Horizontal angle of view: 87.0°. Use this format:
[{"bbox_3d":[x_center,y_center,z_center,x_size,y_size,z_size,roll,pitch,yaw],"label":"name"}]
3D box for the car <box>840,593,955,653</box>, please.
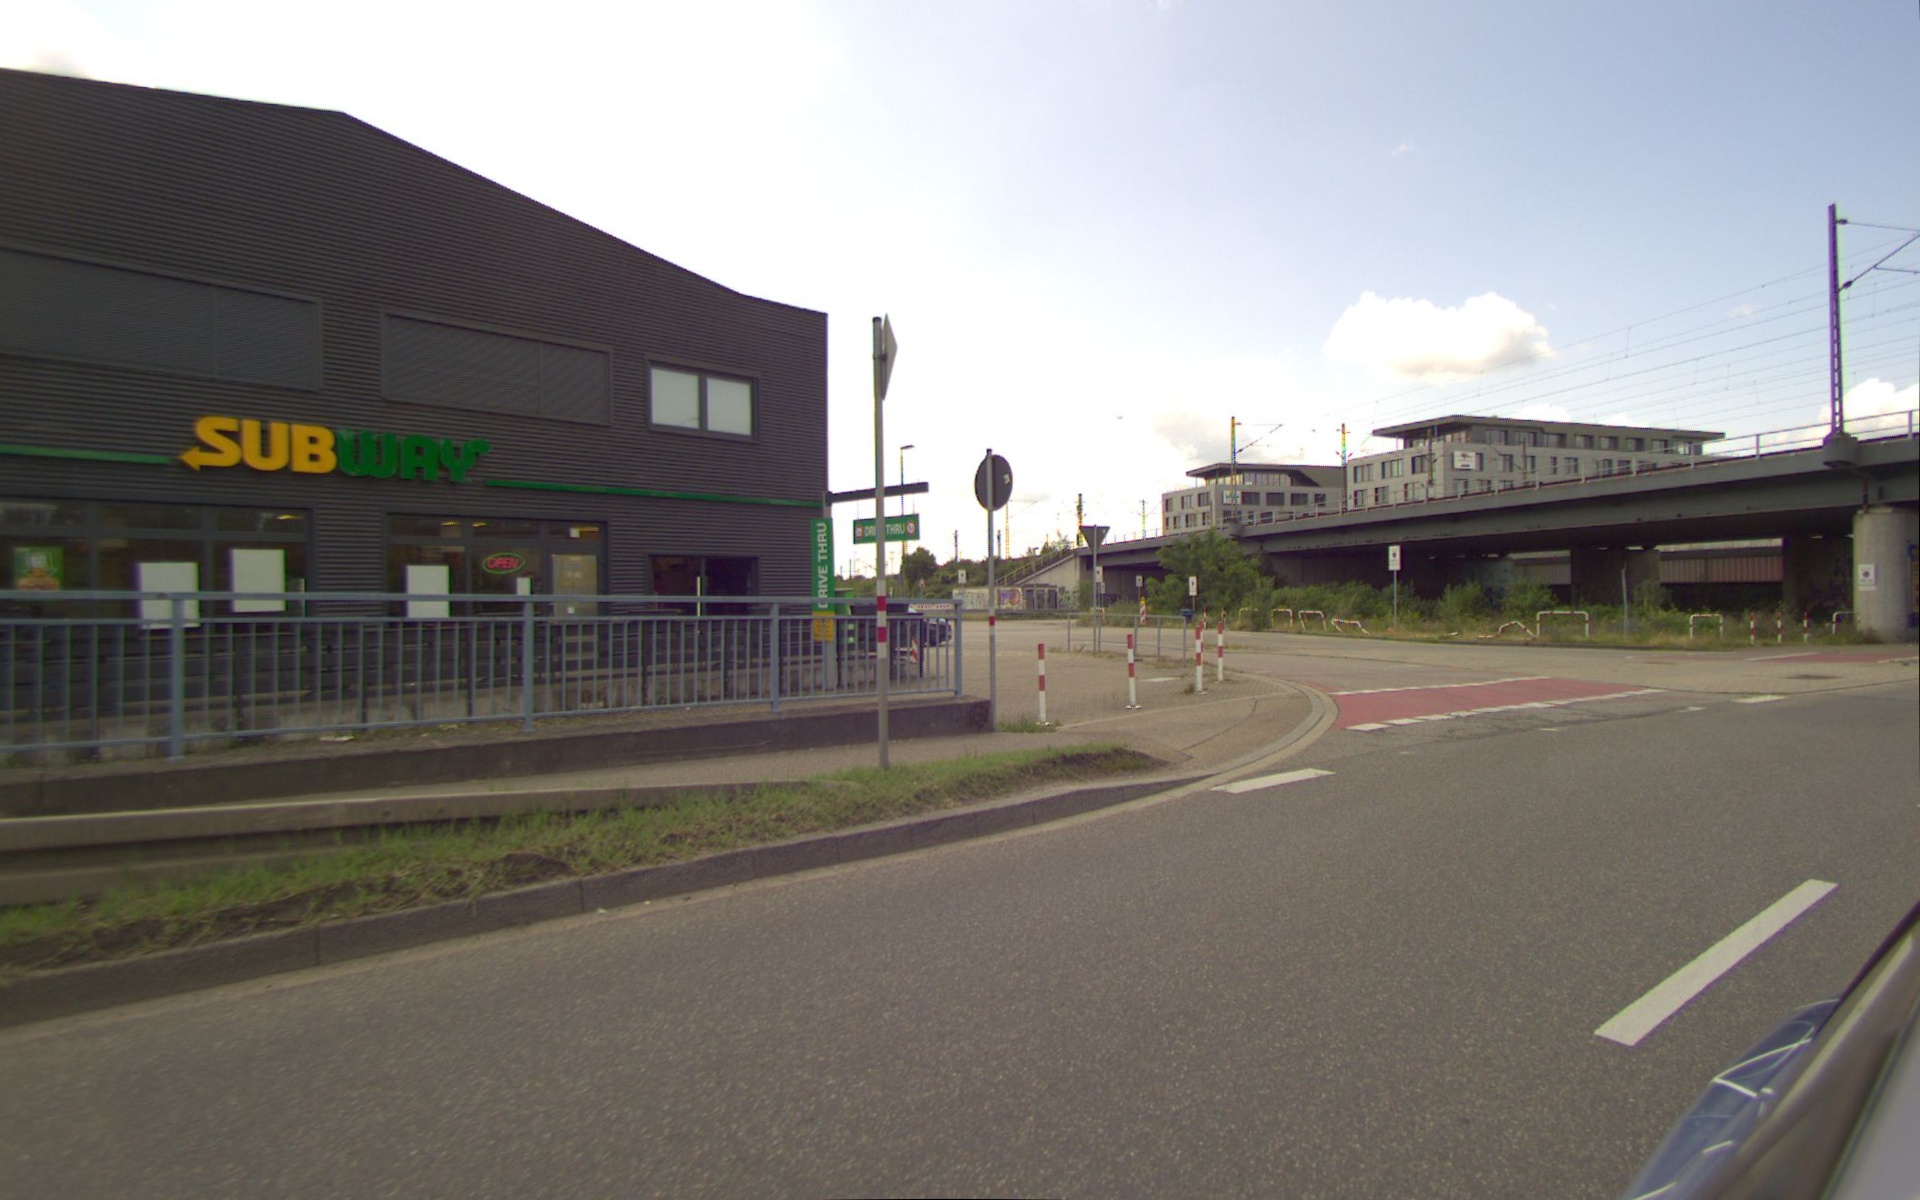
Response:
[{"bbox_3d":[-2.272,0.792,36.389,3.852,2.039,1.734,-1,0,33],"label":"car"}]
